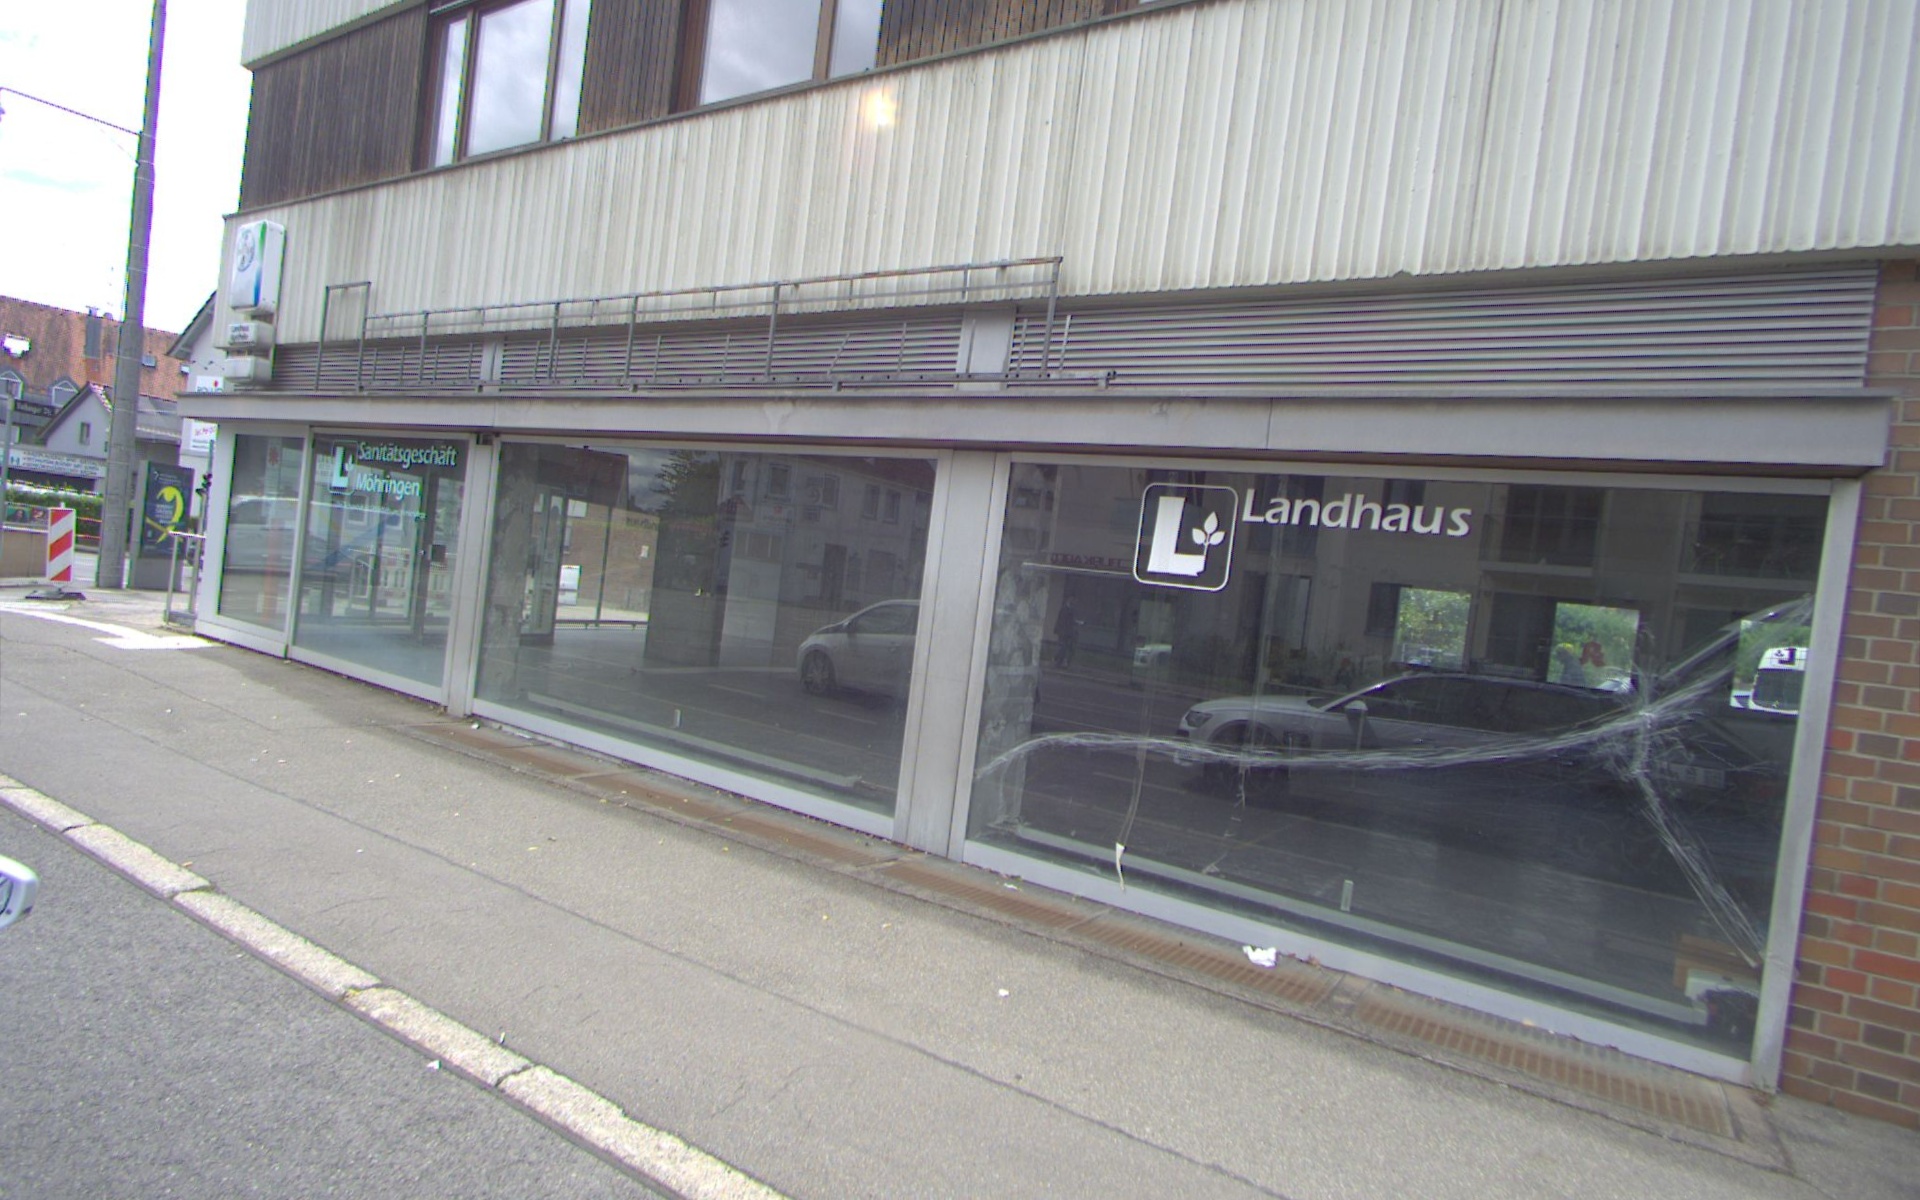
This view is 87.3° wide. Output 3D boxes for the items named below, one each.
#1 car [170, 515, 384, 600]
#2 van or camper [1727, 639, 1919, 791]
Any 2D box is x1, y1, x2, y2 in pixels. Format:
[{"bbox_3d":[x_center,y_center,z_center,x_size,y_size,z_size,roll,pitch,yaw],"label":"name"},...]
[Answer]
[{"bbox_3d":[-19.036,-1.129,28.304,1.964,1.764,4.511,9,1,23],"label":"car"},{"bbox_3d":[18.989,2.425,20.051,5.409,2.574,2.058,7,1,4],"label":"van or camper"}]
